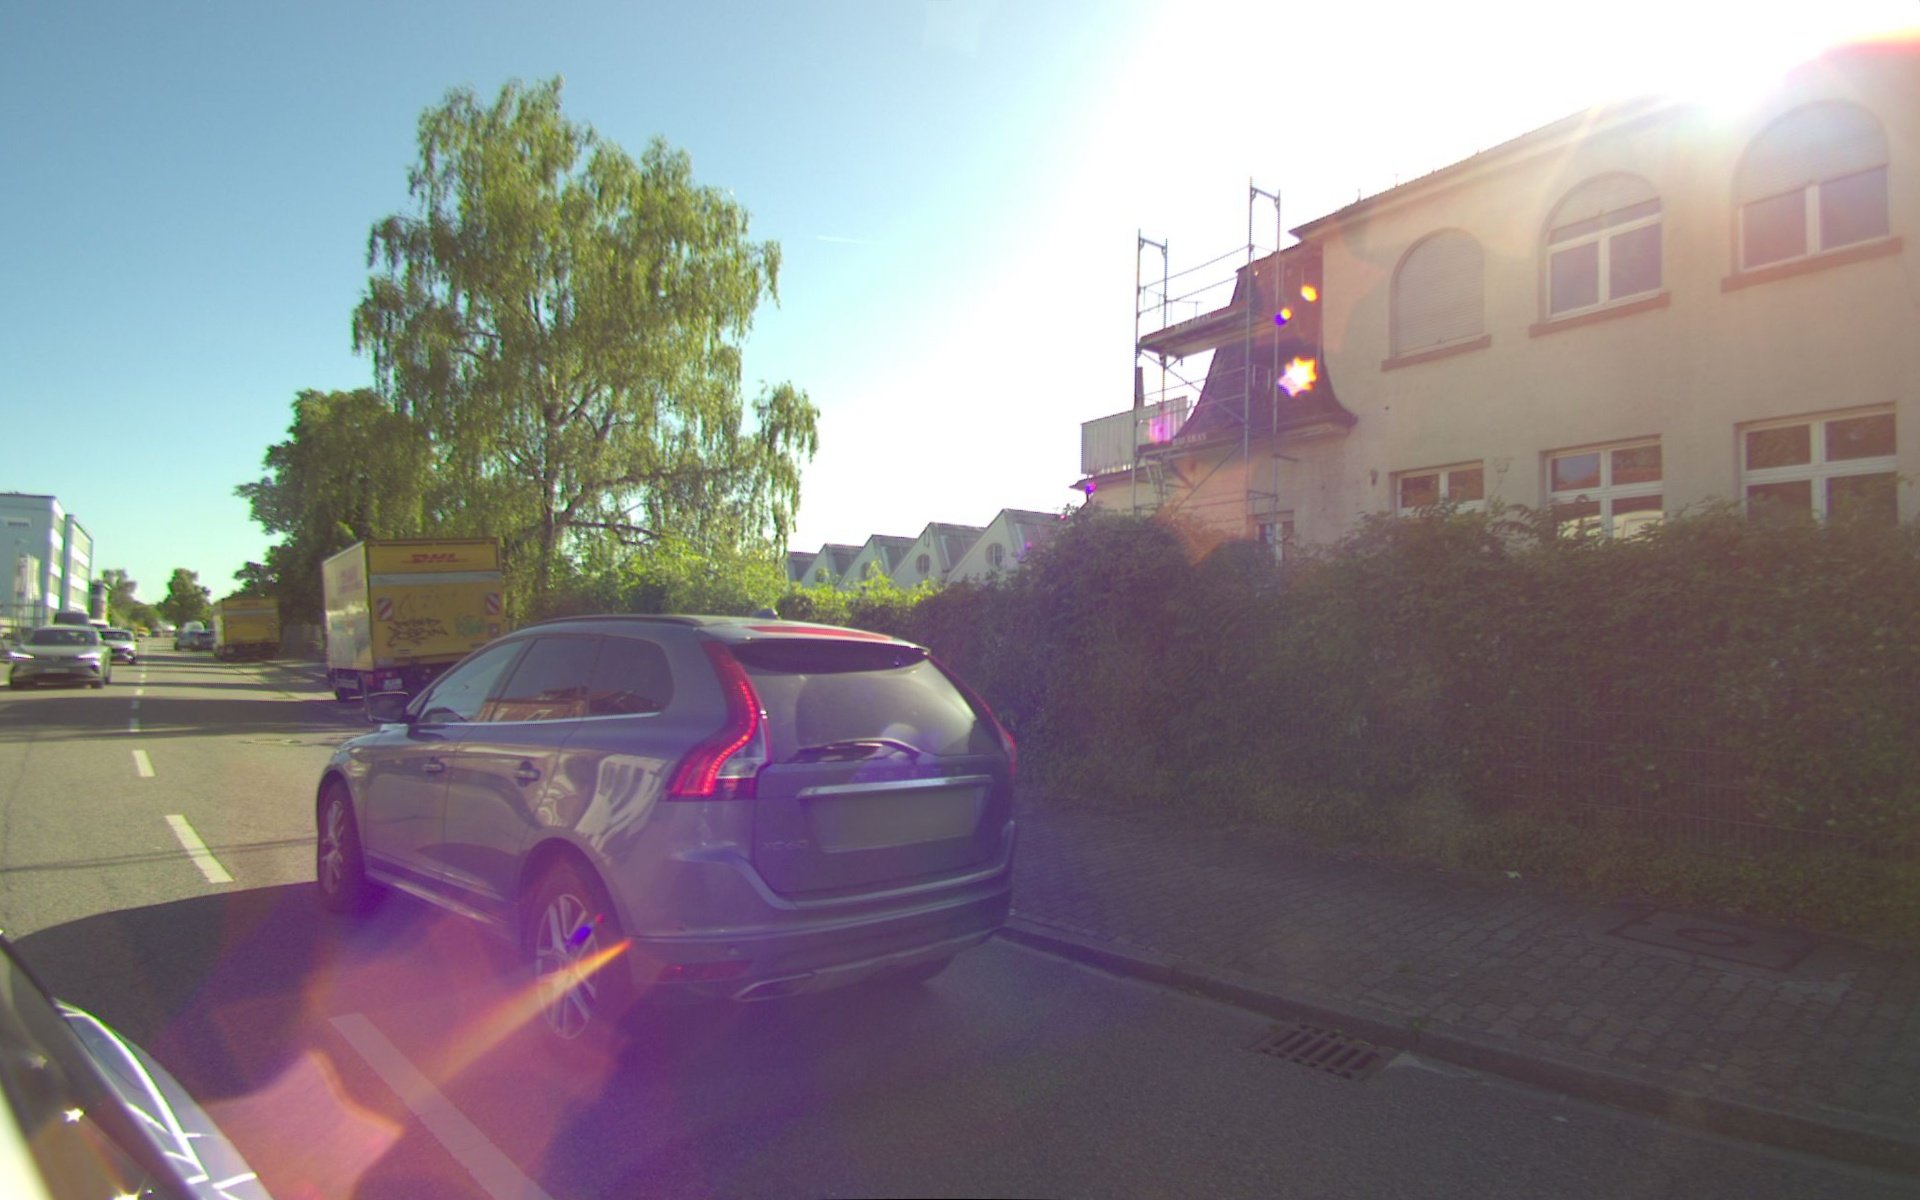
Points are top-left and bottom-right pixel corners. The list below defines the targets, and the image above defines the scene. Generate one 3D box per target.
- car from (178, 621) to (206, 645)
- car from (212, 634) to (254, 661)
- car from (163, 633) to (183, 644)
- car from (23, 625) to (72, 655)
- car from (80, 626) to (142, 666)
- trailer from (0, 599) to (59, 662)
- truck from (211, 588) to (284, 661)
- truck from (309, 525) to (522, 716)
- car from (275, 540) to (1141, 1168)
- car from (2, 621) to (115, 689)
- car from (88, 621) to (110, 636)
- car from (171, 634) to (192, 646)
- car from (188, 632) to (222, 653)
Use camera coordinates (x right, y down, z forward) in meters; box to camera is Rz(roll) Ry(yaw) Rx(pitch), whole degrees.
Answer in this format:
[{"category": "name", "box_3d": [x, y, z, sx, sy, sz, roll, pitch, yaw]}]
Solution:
[{"category": "car", "box_3d": [-98.869, 4.250, 130.202, 2.141, 3.015, 6.348, 4, -4, -43]}, {"category": "car", "box_3d": [-46.356, 3.006, 64.503, 1.822, 1.643, 4.303, 4, -4, -39]}, {"category": "car", "box_3d": [-123.593, 5.977, 158.908, 1.824, 1.643, 4.298, 5, -4, -45]}, {"category": "car", "box_3d": [-54.415, 2.379, 60.414, 1.822, 1.718, 4.303, 4, -4, -39]}, {"category": "car", "box_3d": [-37.118, 1.998, 44.330, 1.821, 1.643, 4.304, 4, -4, -38]}, {"category": "trailer", "box_3d": [-43.048, 1.413, 46.379, 2.128, 2.738, 4.206, 4, -4, -37]}, {"category": "truck", "box_3d": [-40.631, 1.459, 57.592, 2.753, 3.786, 7.912, 4, -4, -38]}, {"category": "truck", "box_3d": [-12.805, 0.445, 23.357, 2.805, 3.647, 8.022, -3, 0, -39]}, {"category": "car", "box_3d": [-1.585, 0.784, 5.063, 4.564, 1.708, 1.972, -1, -4, 42]}, {"category": "car", "box_3d": [-23.585, 1.428, 26.616, 1.821, 1.643, 4.304, 4, -4, -38]}, {"category": "car", "box_3d": [-100.943, 3.388, 118.703, 1.822, 1.643, 4.303, 4, -4, -39]}, {"category": "car", "box_3d": [-110.231, 5.699, 143.300, 1.823, 1.643, 4.299, 4, -4, -43]}, {"category": "car", "box_3d": [-61.946, 3.457, 83.012, 1.823, 1.643, 4.301, 4, -4, -41]}]
